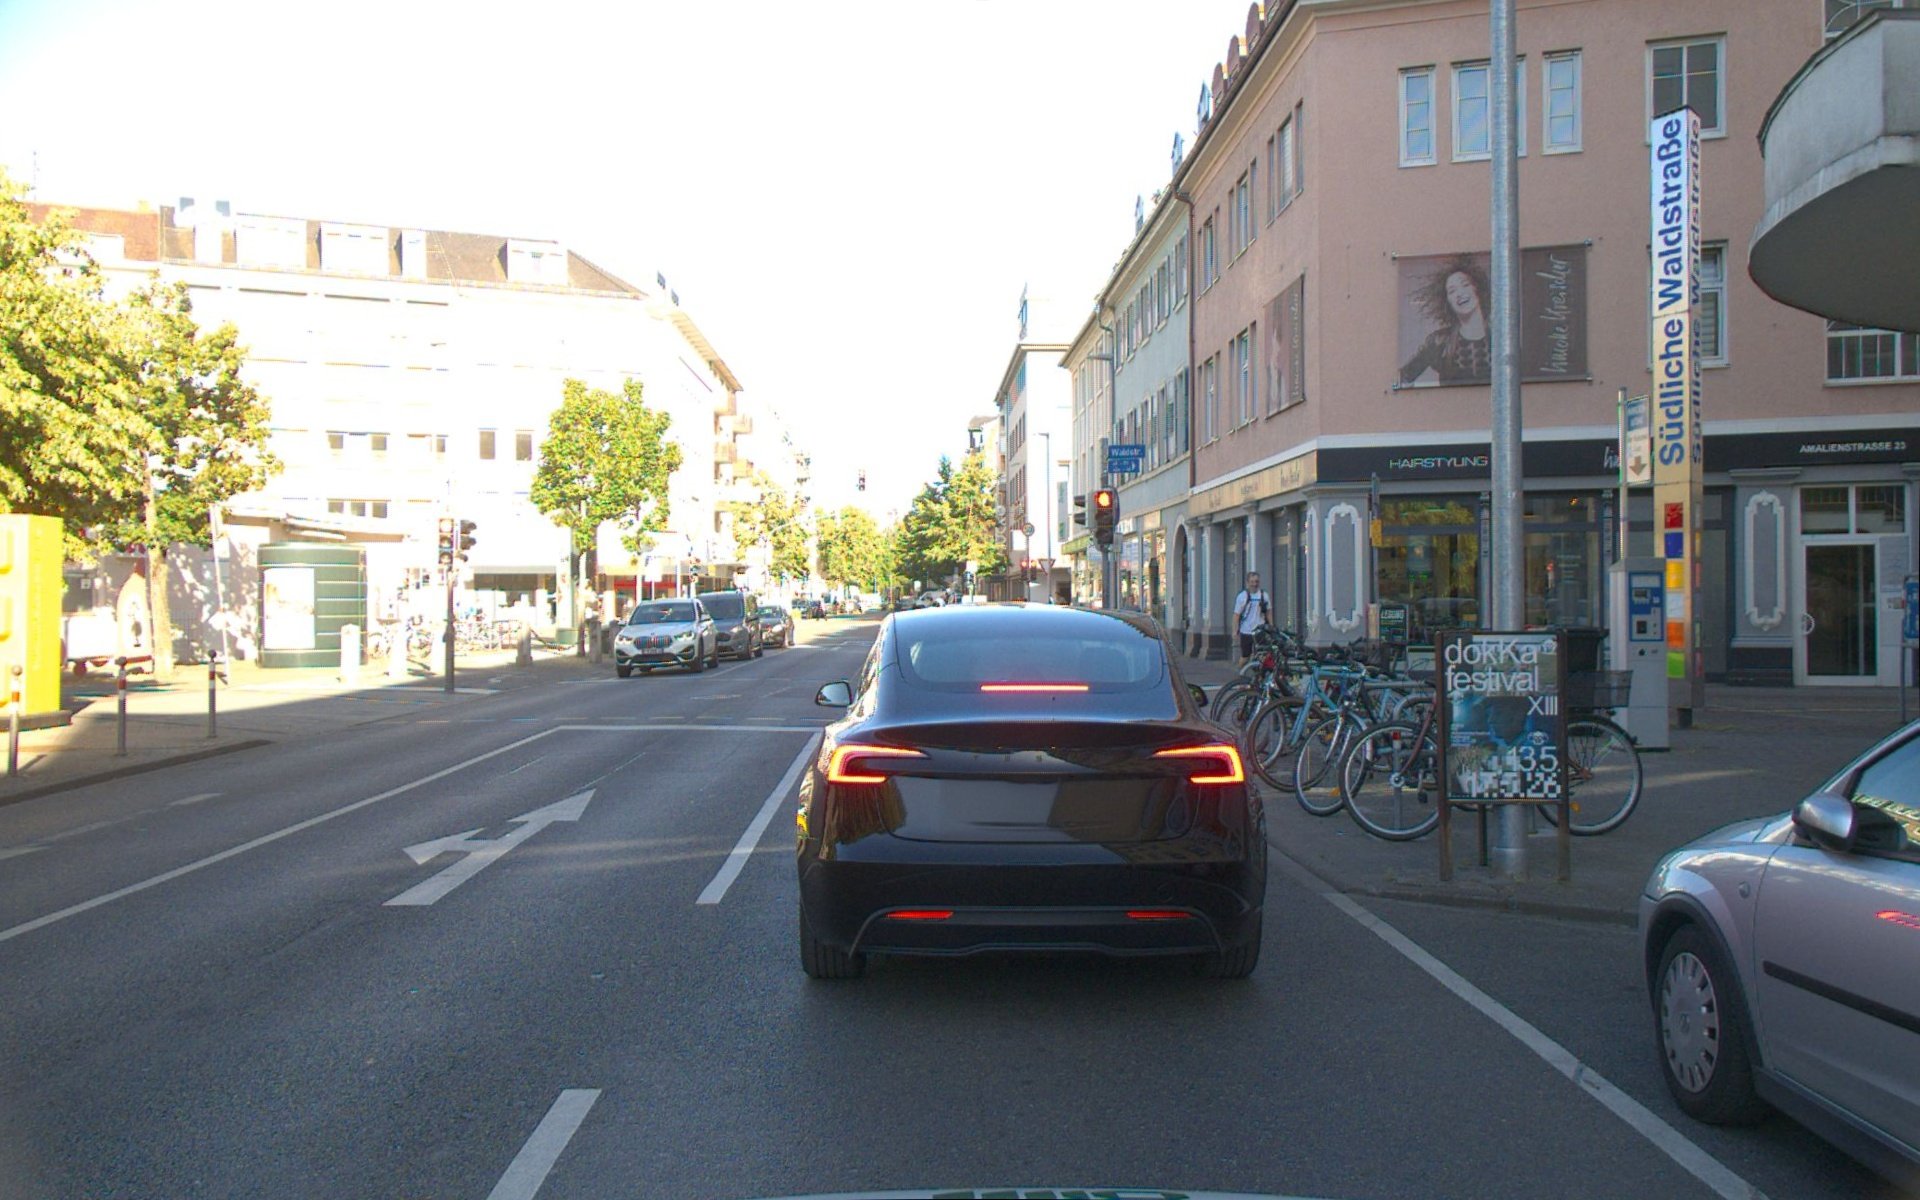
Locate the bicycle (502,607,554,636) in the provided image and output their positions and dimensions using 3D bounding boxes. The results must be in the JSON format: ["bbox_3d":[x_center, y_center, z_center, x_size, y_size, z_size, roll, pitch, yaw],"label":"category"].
[{"bbox_3d":[-20.261,1.027,77.602,2.334,1.318,0.509,1,-1,-27],"label":"bicycle"}]

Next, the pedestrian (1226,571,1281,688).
[{"bbox_3d":[4.603,0.450,25.956,0.735,1.796,0.837,1,-1,3],"label":"pedestrian"}]

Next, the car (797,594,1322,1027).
[{"bbox_3d":[0.315,0.724,7.631,1.785,1.467,3.999,0,0,-1],"label":"car"}]

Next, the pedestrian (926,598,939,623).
[{"bbox_3d":[-1.558,0.595,93.681,0.516,1.447,0.474,1,-1,-31],"label":"pedestrian"}]

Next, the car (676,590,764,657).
[{"bbox_3d":[-6.285,0.589,43.752,1.751,1.675,4.401,0,0,-1],"label":"car"}]

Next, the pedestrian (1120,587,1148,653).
[{"bbox_3d":[4.714,0.535,44.795,0.692,1.773,0.540,0,0,-1],"label":"pedestrian"}]

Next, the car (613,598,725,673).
[{"bbox_3d":[-6.284,0.743,36.051,1.752,1.485,3.756,-2,0,-1],"label":"car"}]

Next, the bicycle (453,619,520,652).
[{"bbox_3d":[-14.221,1.051,49.676,1.826,0.950,0.606,1,0,-2],"label":"bicycle"}]

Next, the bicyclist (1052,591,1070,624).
[{"bbox_3d":[4.346,0.314,71.388,0.659,1.420,0.460,1,-1,-17],"label":"bicyclist"}]

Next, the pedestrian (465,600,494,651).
[{"bbox_3d":[-19.740,1.041,67.980,1.041,2.049,1.049,1,-1,-20],"label":"pedestrian"}]

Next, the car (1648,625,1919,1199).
[{"bbox_3d":[2.927,0.784,3.490,1.515,1.415,3.476,0,0,0],"label":"car"}]

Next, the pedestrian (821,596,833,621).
[{"bbox_3d":[-9.080,0.561,112.949,0.831,1.725,0.717,0,0,-4],"label":"pedestrian"}]

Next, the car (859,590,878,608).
[{"bbox_3d":[-10.364,-0.089,186.957,1.953,2.049,3.999,0,0,-1],"label":"car"}]

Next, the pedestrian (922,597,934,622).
[{"bbox_3d":[-1.830,0.534,94.604,0.467,1.442,0.516,1,-1,-32],"label":"pedestrian"}]

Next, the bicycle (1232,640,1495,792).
[{"bbox_3d":[3.021,0.866,12.483,1.834,1.056,0.533,-2,-1,3],"label":"bicycle"}]

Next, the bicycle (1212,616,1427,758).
[{"bbox_3d":[3.198,0.769,14.797,1.789,1.189,0.506,-2,-1,5],"label":"bicycle"}]

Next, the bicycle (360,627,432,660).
[{"bbox_3d":[-14.456,1.113,42.403,1.612,0.806,0.606,1,0,-5],"label":"bicycle"}]

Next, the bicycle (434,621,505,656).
[{"bbox_3d":[-13.984,1.090,47.206,1.826,0.950,0.606,1,0,-2],"label":"bicycle"}]

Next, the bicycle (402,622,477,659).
[{"bbox_3d":[-14.146,1.100,44.987,1.826,0.950,0.606,1,0,-2],"label":"bicycle"}]

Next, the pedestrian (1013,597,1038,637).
[{"bbox_3d":[2.733,0.712,69.299,0.742,1.660,0.951,1,-1,-18],"label":"pedestrian"}]

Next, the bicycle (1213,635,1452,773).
[{"bbox_3d":[3.055,0.851,13.675,1.833,1.056,0.548,-2,-1,5],"label":"bicycle"}]

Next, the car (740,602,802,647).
[{"bbox_3d":[-6.350,0.809,55.949,1.680,1.471,3.844,1,0,-1],"label":"car"}]

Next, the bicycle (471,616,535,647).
[{"bbox_3d":[-14.334,0.984,51.876,1.826,0.950,0.606,0,0,-2],"label":"bicycle"}]

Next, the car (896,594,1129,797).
[{"bbox_3d":[0.308,0.688,13.848,1.683,1.450,3.755,0,0,-2],"label":"car"}]

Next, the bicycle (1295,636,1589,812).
[{"bbox_3d":[3.239,0.830,11.204,1.834,1.106,0.414,-2,-1,3],"label":"bicycle"}]

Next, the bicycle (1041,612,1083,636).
[{"bbox_3d":[4.399,1.044,71.391,1.756,1.024,0.469,1,-1,-17],"label":"bicycle"}]

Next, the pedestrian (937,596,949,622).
[{"bbox_3d":[-0.988,0.528,94.263,0.516,1.447,0.474,1,-1,-31],"label":"pedestrian"}]

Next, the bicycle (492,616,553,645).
[{"bbox_3d":[-14.370,0.994,54.324,1.826,0.950,0.606,0,0,-2],"label":"bicycle"}]

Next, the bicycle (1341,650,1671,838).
[{"bbox_3d":[3.276,0.867,10.012,1.833,1.056,0.353,-2,-1,6],"label":"bicycle"}]
